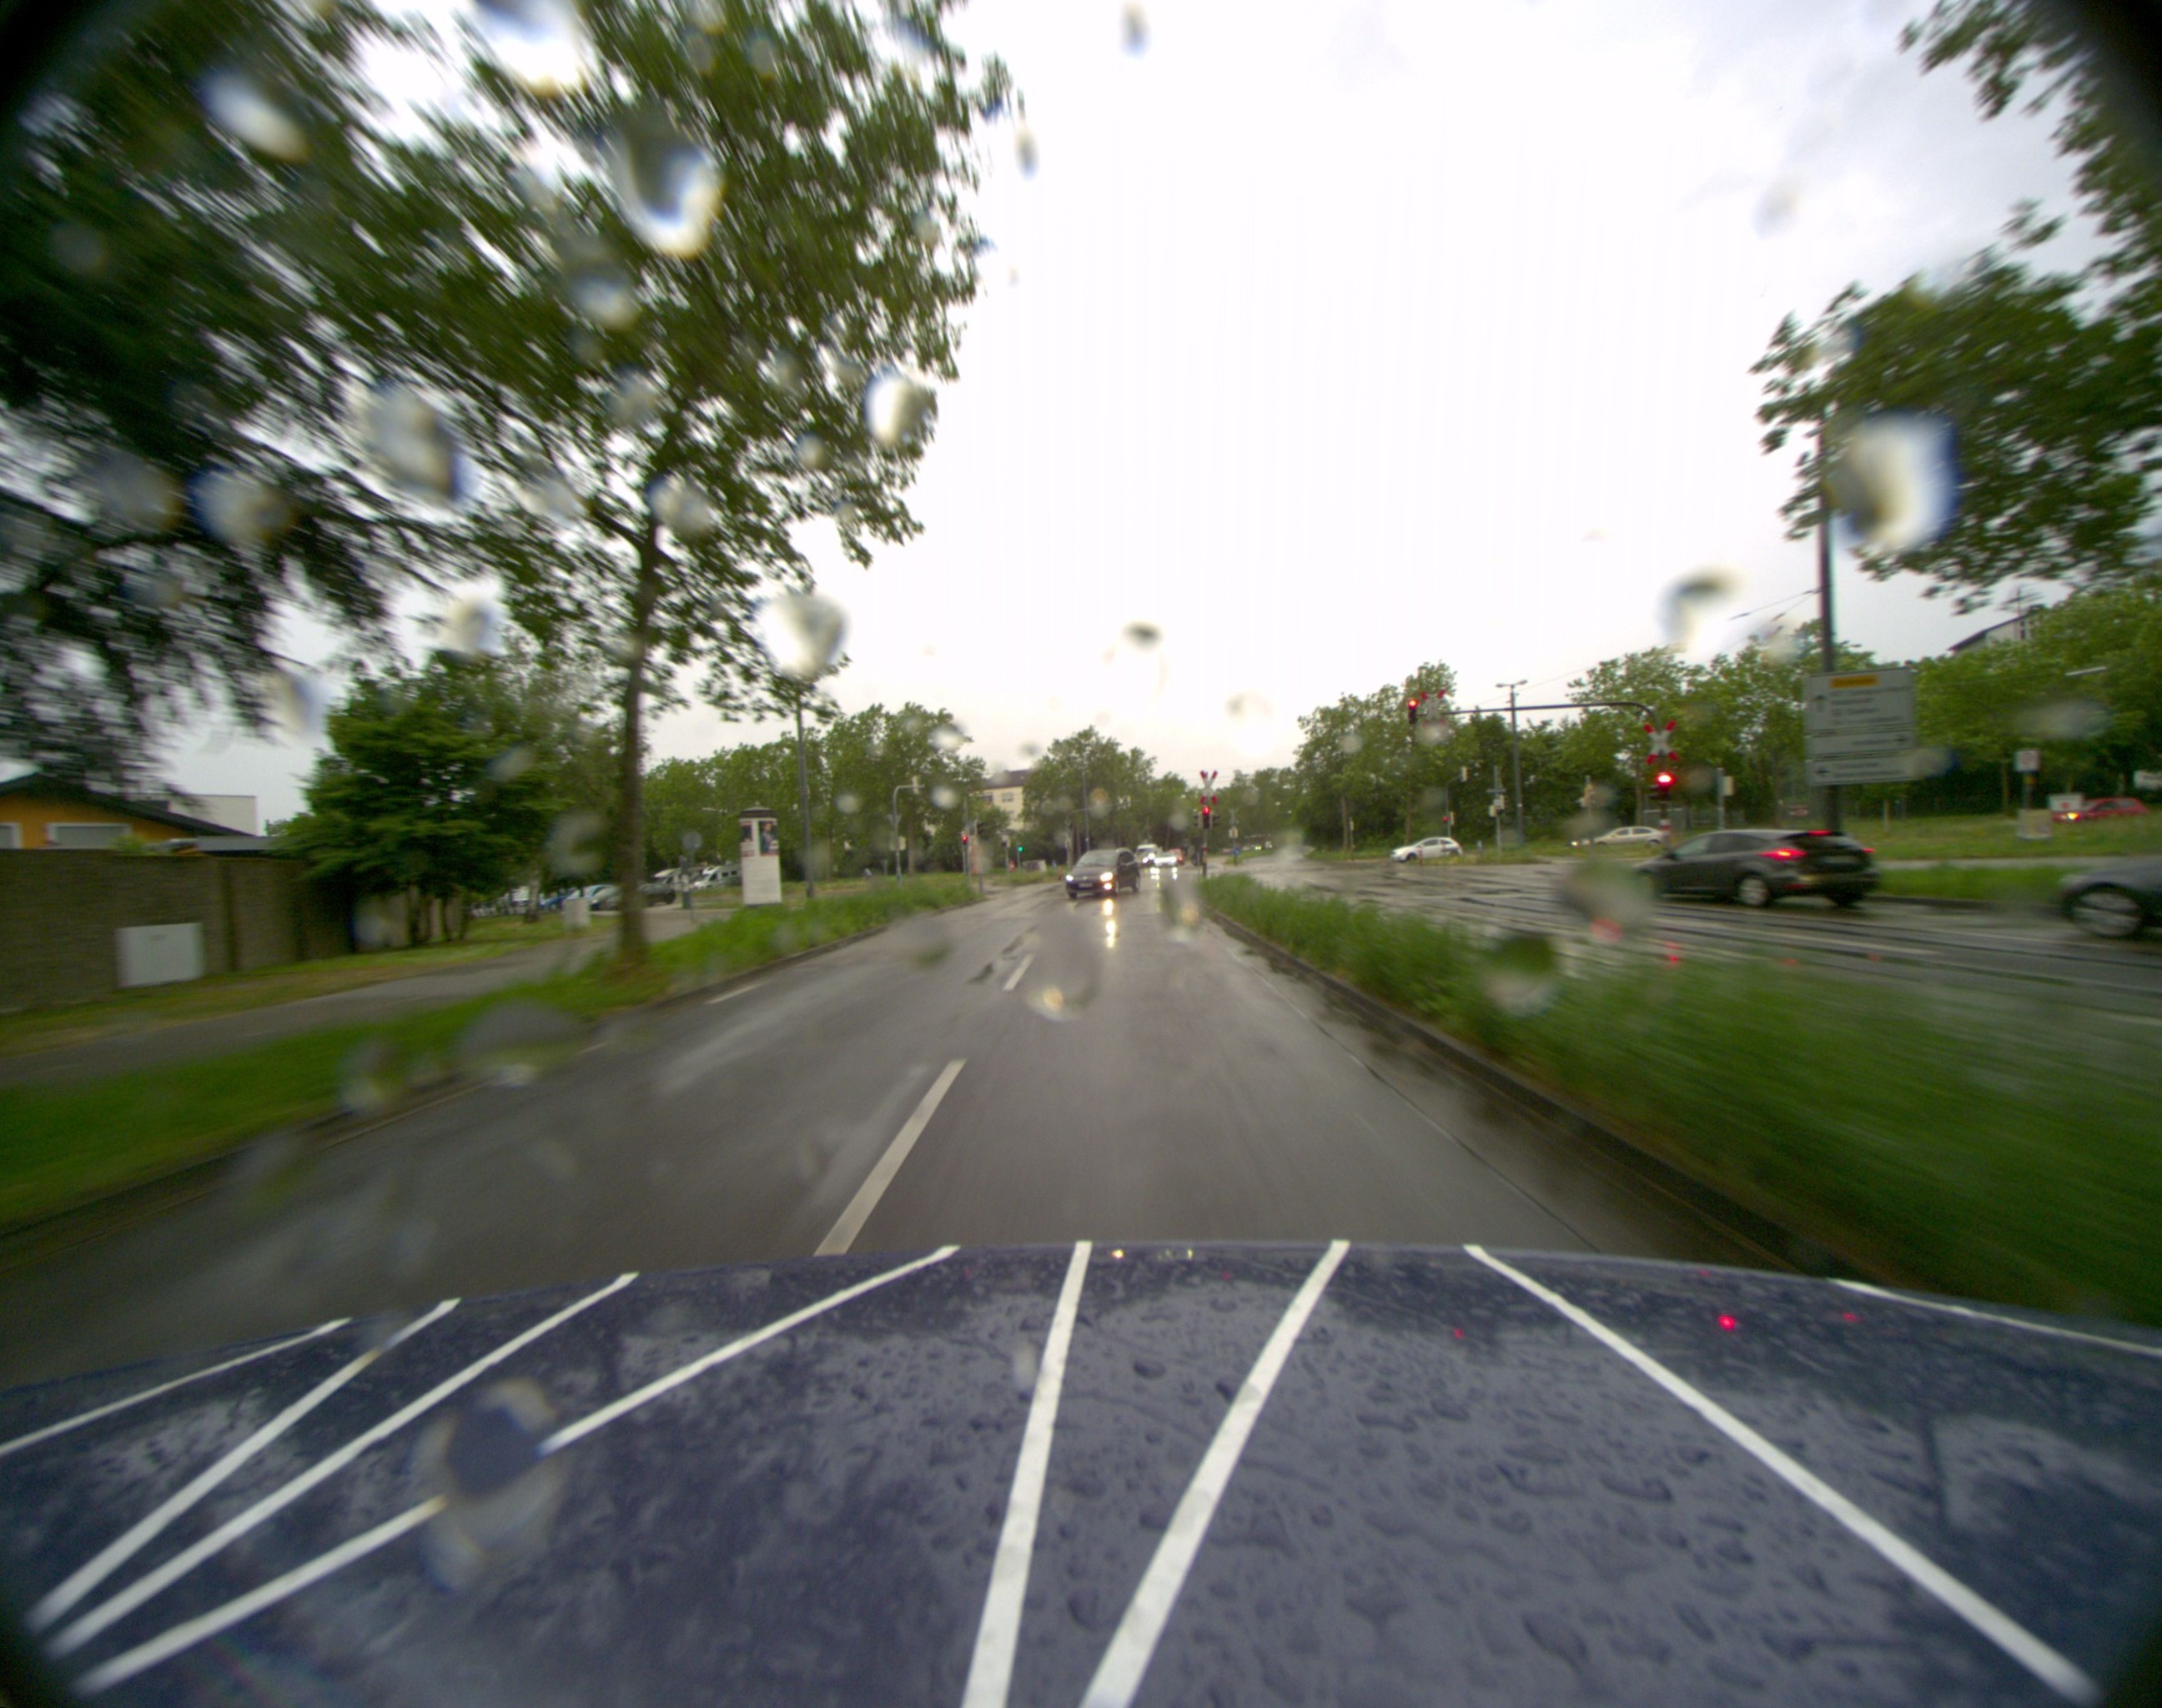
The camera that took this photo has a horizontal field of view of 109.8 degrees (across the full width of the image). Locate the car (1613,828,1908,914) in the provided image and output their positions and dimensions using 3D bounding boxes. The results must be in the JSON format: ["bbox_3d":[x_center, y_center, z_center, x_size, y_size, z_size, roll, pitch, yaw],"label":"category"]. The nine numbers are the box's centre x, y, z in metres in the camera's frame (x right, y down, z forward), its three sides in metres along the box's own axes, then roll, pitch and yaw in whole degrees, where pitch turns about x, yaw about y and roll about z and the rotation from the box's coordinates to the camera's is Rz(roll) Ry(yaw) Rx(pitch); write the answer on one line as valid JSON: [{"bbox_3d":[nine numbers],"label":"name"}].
[{"bbox_3d":[12.939,0.261,14.915,1.804,1.394,4.312,-2,1,-3],"label":"car"}]

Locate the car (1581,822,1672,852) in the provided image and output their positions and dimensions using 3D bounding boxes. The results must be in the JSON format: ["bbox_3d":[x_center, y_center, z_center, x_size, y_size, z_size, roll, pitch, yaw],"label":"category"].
[{"bbox_3d":[31.335,-0.947,43.712,3.789,1.395,1.790,-3,-1,7],"label":"car"}]

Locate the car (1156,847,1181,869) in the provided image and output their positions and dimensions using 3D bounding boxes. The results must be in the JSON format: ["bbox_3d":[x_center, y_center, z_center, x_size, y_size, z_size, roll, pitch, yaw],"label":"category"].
[{"bbox_3d":[8.119,0.402,70.229,1.932,1.817,4.612,-3,-1,9],"label":"car"}]

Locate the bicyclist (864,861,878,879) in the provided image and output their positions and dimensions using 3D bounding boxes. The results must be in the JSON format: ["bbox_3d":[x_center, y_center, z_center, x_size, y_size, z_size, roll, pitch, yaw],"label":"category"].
[{"bbox_3d":[-18.267,1.361,66.176,0.843,1.497,0.693,-4,-1,12],"label":"bicyclist"}]

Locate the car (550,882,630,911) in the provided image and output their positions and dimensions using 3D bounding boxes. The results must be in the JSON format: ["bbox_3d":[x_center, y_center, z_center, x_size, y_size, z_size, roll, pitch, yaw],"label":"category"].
[{"bbox_3d":[-31.976,2.753,49.622,1.855,1.572,4.005,-4,0,19],"label":"car"}]

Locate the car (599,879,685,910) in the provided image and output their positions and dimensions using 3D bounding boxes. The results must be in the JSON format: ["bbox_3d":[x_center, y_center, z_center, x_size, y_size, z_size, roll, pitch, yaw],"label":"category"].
[{"bbox_3d":[-26.973,2.486,46.886,1.855,1.410,4.496,-4,2,16],"label":"car"}]

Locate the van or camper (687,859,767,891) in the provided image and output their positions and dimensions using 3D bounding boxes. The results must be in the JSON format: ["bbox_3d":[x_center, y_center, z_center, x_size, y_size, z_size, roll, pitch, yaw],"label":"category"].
[{"bbox_3d":[-39.273,2.280,84.524,3.254,3.159,7.360,-4,-1,33],"label":"van or camper"}]

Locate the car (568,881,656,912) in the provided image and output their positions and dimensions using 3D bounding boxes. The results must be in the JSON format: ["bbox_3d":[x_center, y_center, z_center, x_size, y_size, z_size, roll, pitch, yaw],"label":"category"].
[{"bbox_3d":[-29.277,2.630,47.593,1.855,1.410,4.515,-4,1,16],"label":"car"}]

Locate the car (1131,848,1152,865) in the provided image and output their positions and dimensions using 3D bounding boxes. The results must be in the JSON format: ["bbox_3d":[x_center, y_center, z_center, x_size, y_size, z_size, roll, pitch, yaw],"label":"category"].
[{"bbox_3d":[6.311,0.298,78.587,1.788,1.597,4.072,-3,-1,9],"label":"car"}]

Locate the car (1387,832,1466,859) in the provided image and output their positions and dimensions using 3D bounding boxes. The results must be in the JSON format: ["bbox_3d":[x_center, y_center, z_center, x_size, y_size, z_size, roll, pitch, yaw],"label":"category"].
[{"bbox_3d":[20.877,-0.469,46.035,3.992,1.355,1.791,-3,-1,8],"label":"car"}]

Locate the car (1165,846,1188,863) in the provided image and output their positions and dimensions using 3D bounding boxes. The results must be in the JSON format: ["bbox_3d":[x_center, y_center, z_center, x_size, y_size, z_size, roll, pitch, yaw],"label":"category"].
[{"bbox_3d":[9.673,0.043,76.604,1.788,1.597,4.623,-3,-1,13],"label":"car"}]

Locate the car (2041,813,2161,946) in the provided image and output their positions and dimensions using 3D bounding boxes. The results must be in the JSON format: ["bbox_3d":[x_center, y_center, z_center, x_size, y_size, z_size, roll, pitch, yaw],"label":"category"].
[{"bbox_3d":[12.724,0.297,7.155,1.803,1.399,4.459,-3,2,2],"label":"car"}]

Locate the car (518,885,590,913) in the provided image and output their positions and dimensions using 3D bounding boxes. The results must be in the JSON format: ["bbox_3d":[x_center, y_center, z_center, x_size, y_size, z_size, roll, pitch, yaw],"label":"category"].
[{"bbox_3d":[-36.545,3.114,52.802,1.928,1.572,4.001,-4,0,4],"label":"car"}]

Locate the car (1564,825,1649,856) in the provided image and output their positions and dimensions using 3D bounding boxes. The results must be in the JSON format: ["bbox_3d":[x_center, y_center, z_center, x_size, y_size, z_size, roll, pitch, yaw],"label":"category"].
[{"bbox_3d":[32.107,-0.788,46.526,3.803,1.608,1.875,-4,-1,11],"label":"car"}]

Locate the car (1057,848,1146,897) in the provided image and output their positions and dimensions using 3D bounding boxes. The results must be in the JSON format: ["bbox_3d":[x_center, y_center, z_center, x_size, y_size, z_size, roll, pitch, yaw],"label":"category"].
[{"bbox_3d":[0.874,0.629,28.258,1.864,1.592,4.532,-4,-1,20],"label":"car"}]

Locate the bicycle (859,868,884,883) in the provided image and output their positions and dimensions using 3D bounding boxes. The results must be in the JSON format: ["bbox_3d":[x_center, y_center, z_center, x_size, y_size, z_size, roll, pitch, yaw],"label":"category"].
[{"bbox_3d":[-18.228,1.882,66.175,1.882,1.110,0.693,-4,-1,12],"label":"bicycle"}]

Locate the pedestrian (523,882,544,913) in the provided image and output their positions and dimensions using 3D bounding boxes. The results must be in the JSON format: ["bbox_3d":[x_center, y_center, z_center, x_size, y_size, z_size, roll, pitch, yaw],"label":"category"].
[{"bbox_3d":[-32.535,2.587,45.146,0.884,1.786,0.728,-3,-1,35],"label":"pedestrian"}]

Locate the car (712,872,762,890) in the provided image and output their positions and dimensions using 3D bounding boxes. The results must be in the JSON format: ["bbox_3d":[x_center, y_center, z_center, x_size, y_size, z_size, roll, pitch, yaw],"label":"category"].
[{"bbox_3d":[-36.906,2.871,81.623,1.995,1.706,4.467,-4,-1,36],"label":"car"}]

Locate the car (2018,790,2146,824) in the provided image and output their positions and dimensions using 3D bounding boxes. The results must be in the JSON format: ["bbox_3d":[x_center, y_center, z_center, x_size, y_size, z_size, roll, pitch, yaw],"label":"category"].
[{"bbox_3d":[52.200,-2.431,39.705,3.859,1.372,1.791,-3,-1,9],"label":"car"}]

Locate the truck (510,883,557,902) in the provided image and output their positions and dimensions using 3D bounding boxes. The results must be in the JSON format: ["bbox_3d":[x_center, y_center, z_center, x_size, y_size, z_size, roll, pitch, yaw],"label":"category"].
[{"bbox_3d":[-75.886,5.284,105.352,2.424,2.324,4.747,-4,-1,35],"label":"truck"}]

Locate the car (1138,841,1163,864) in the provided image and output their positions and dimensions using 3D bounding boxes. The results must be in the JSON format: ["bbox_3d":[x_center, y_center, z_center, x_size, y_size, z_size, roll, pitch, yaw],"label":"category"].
[{"bbox_3d":[7.774,-0.185,84.827,1.997,2.377,5.628,-3,-1,12],"label":"car"}]

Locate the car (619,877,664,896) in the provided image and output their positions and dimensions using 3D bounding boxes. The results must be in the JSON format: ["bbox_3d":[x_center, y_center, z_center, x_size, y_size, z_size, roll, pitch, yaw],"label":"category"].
[{"bbox_3d":[-53.616,3.971,92.739,2.180,2.001,4.195,-4,-1,40],"label":"car"}]

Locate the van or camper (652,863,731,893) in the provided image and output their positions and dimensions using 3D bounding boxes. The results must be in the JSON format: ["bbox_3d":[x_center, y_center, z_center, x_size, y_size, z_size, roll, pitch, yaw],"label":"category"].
[{"bbox_3d":[-46.172,2.800,90.256,3.254,3.159,7.465,-4,-1,37],"label":"van or camper"}]
